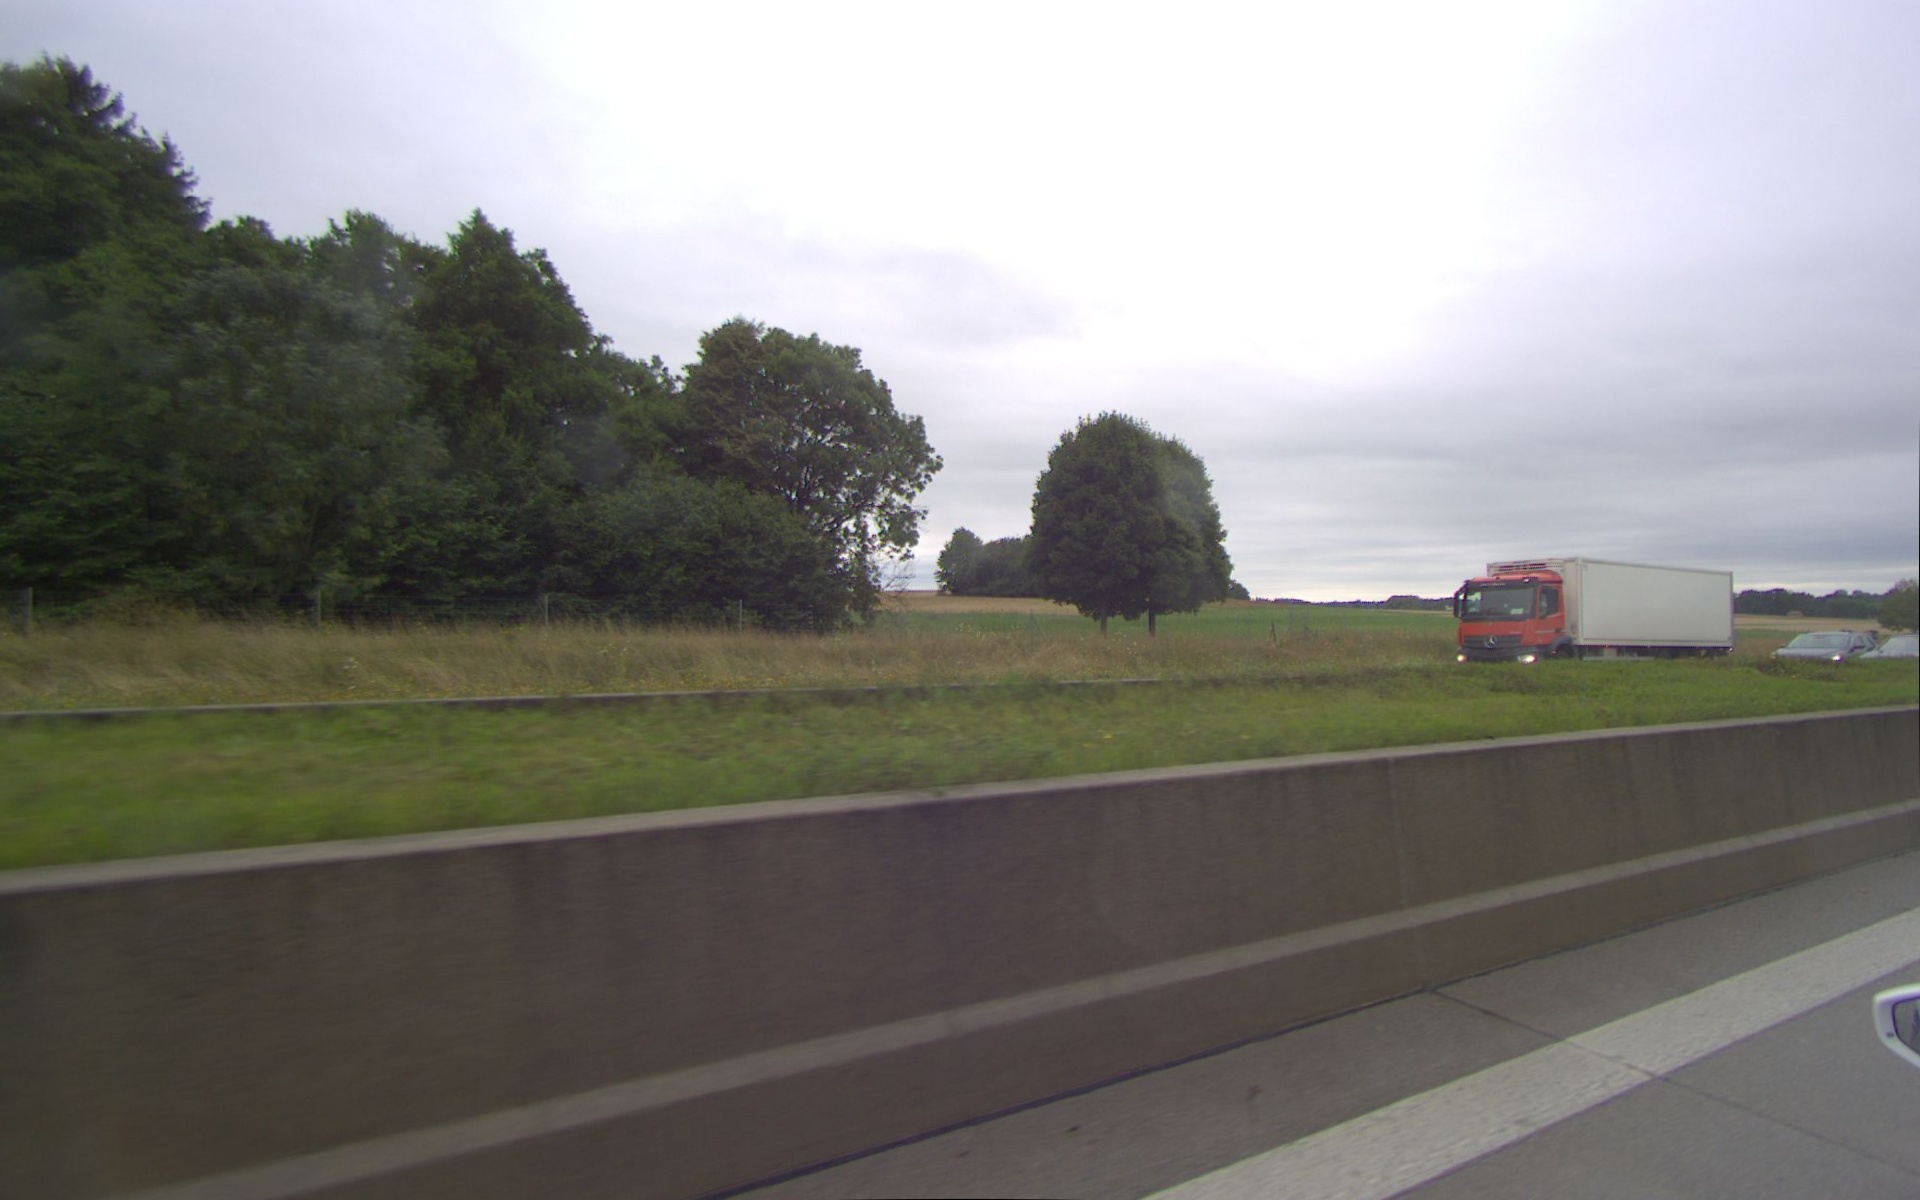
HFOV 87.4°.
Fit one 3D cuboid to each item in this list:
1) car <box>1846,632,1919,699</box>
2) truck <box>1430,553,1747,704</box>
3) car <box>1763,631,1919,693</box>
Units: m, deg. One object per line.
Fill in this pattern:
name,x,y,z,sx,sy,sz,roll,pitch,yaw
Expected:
car,23.180,1.520,24.067,4.404,1.500,1.719,1,-2,-31
truck,19.289,0.782,30.328,12.306,3.907,2.888,0,-1,-31
car,26.968,1.814,30.577,5.784,1.653,2.099,0,-1,-31
